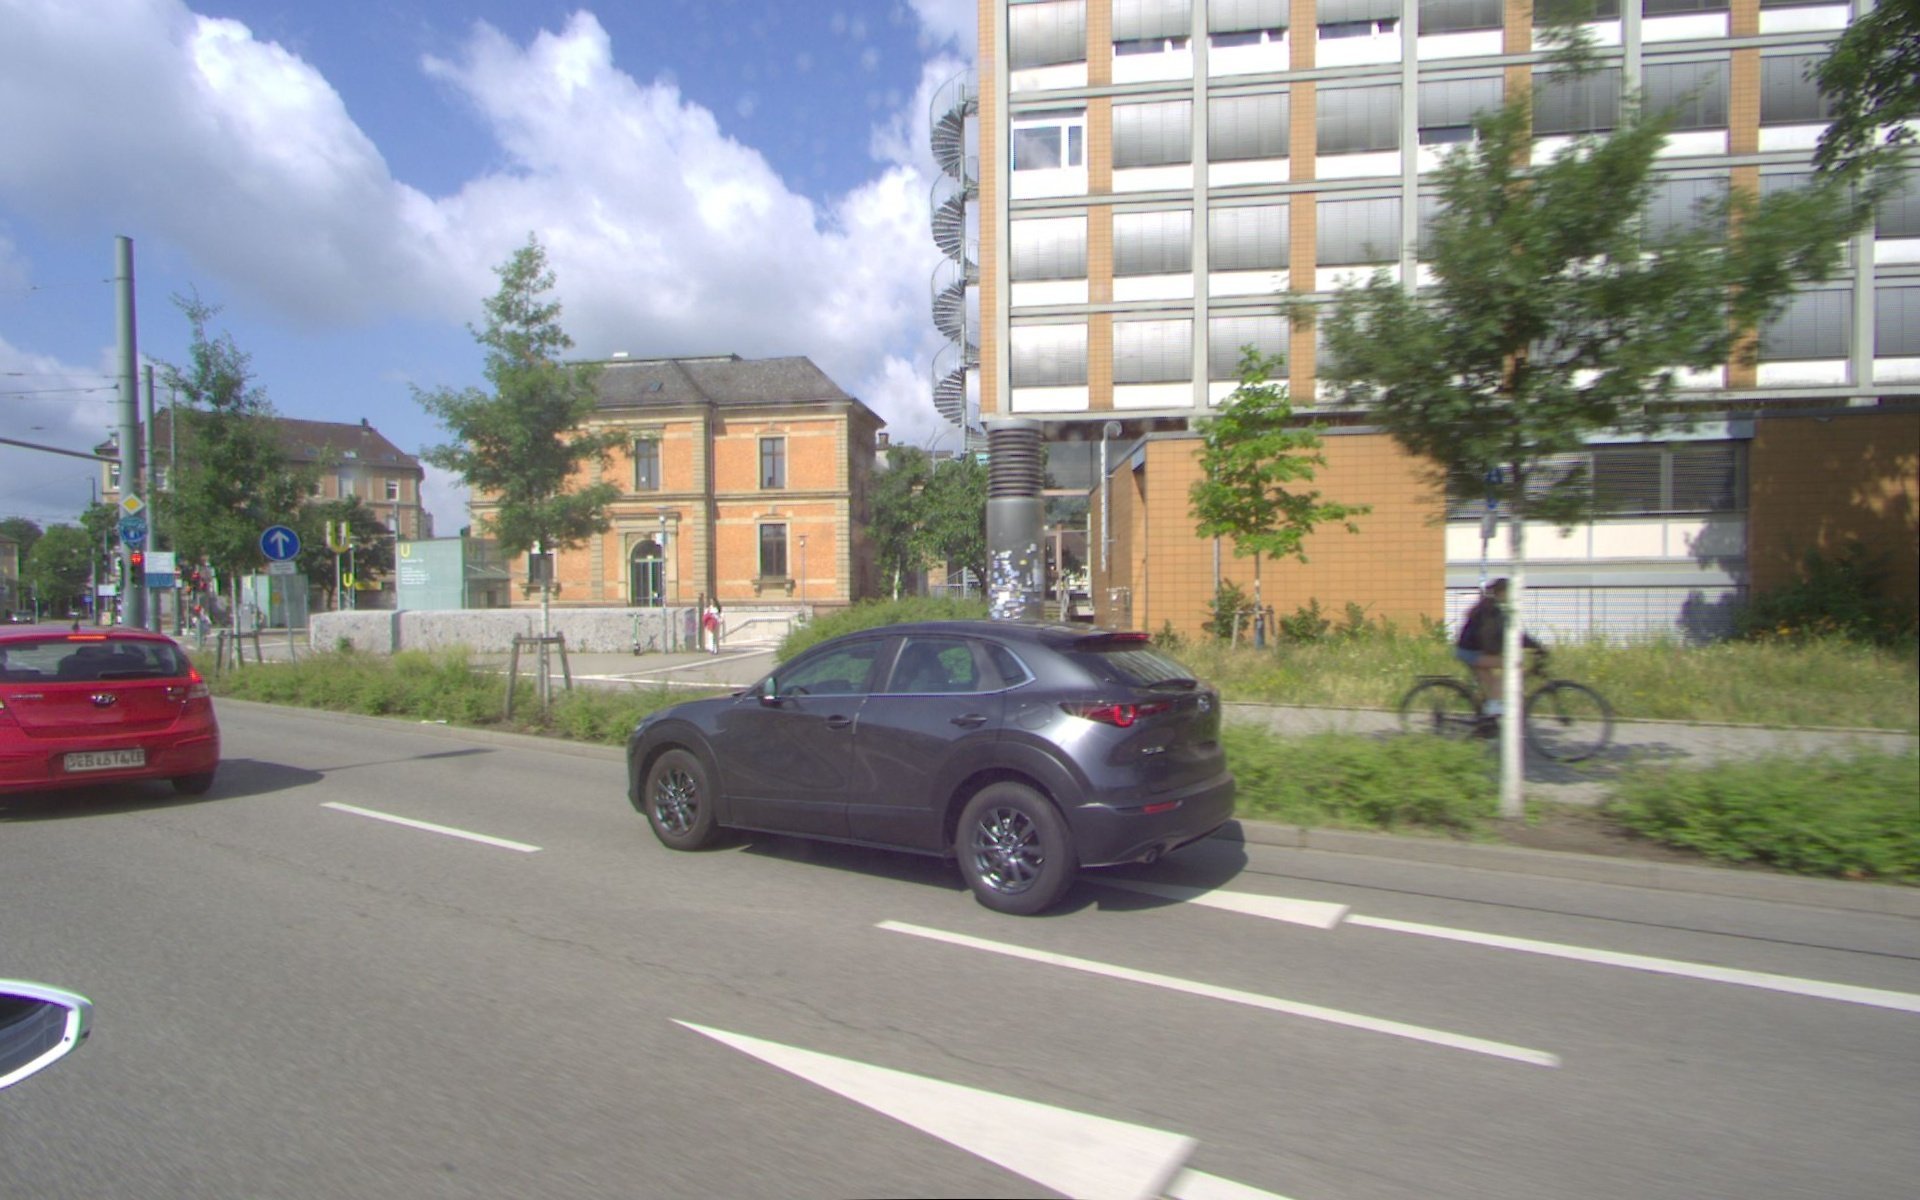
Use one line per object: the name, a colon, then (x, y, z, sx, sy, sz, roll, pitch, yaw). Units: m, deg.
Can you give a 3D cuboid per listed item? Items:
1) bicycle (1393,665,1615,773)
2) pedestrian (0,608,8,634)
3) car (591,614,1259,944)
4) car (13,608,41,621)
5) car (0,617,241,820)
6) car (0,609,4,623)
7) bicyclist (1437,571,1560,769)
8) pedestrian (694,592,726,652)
bicycle: (5.022, 1.064, 9.286, 1.764, 0.822, 0.623, 0, 2, 34)
pedestrian: (-58.107, 1.250, 60.412, 0.661, 1.556, 0.675, 0, 1, -4)
car: (-0.376, 0.885, 6.577, 4.148, 1.527, 1.801, -1, -1, 35)
car: (-118.327, 1.841, 126.974, 1.974, 1.595, 3.974, 0, 0, -34)
car: (-8.222, 0.903, 8.886, 4.013, 1.458, 1.811, -1, -1, 36)
car: (-104.936, 1.735, 107.978, 1.974, 1.461, 3.974, 0, 0, -34)
bicyclist: (5.004, 0.612, 9.298, 0.952, 1.725, 0.733, 0, 2, 34)
pedestrian: (-7.295, 0.632, 29.180, 0.753, 1.709, 0.878, 1, 1, -22)
